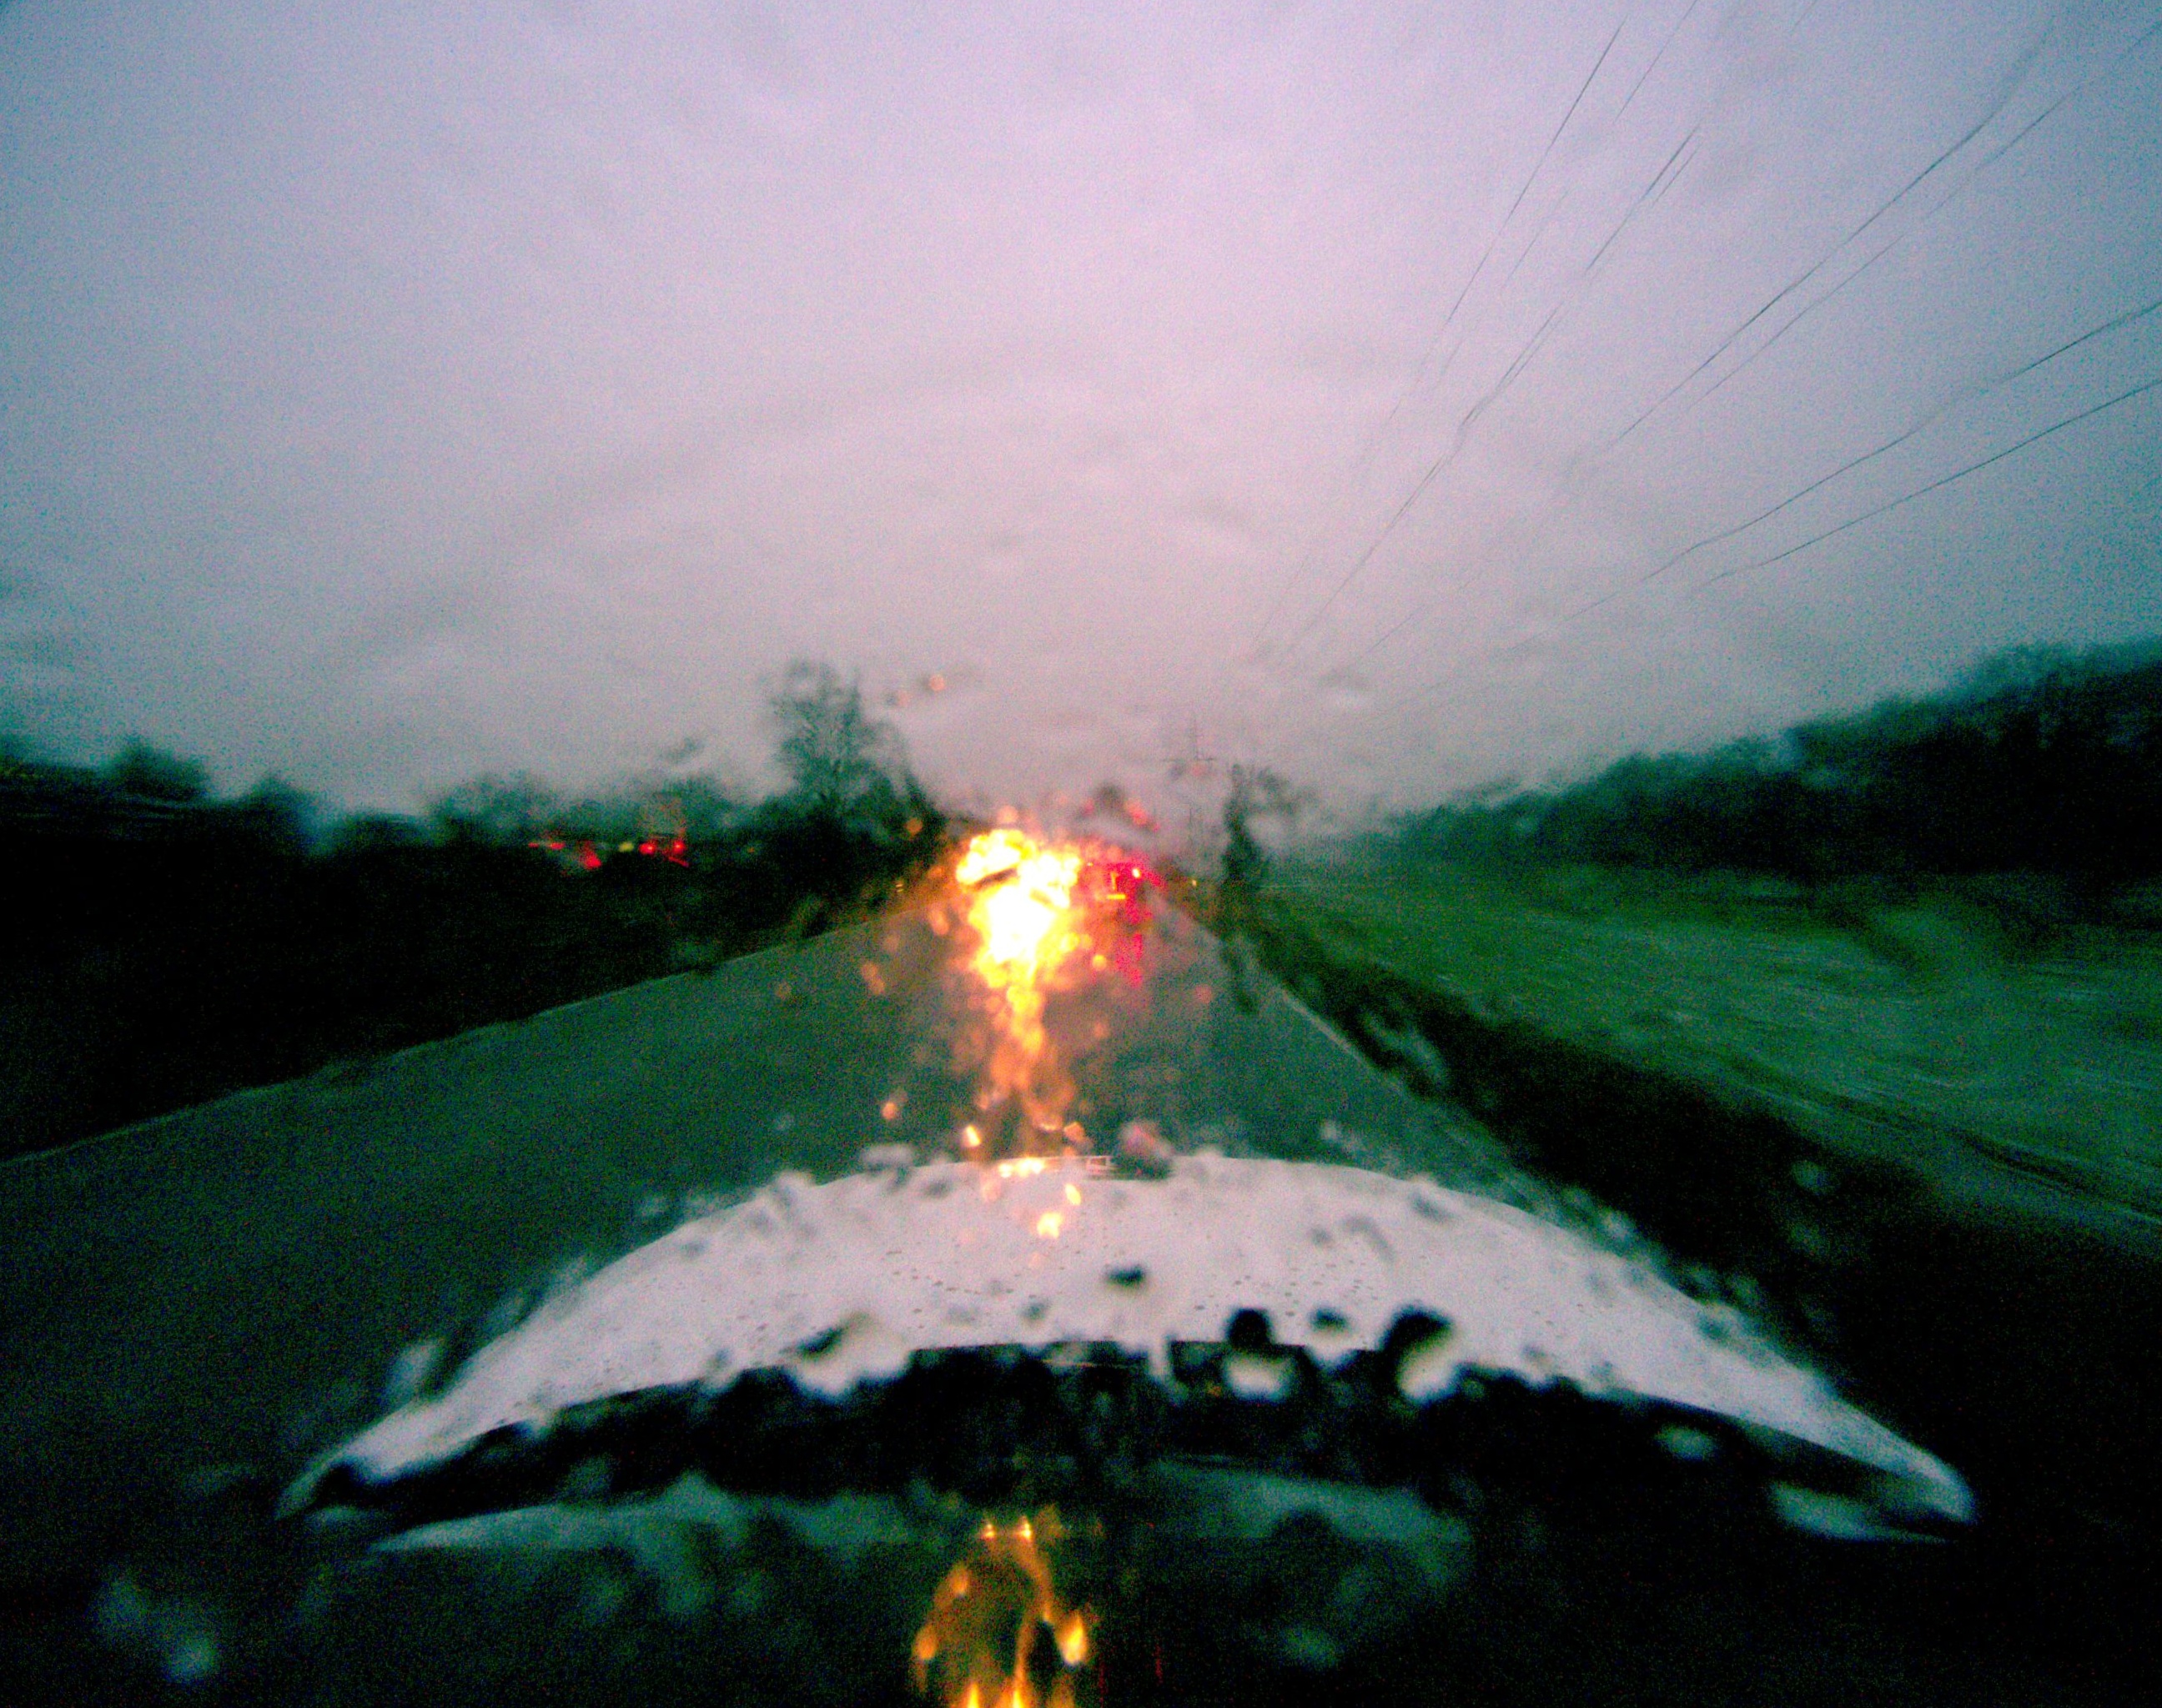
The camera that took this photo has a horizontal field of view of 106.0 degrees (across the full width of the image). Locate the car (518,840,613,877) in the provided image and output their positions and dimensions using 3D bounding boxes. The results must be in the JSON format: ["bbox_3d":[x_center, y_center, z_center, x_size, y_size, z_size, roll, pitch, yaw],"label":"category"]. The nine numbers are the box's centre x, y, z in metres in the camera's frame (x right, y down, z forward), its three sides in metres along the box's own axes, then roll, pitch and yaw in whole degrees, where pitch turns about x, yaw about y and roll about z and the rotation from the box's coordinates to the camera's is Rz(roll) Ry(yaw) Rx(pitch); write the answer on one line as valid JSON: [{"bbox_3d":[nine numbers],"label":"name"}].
[{"bbox_3d":[-29.499,0.273,46.847,1.985,2.014,5.108,0,-1,3],"label":"car"}]

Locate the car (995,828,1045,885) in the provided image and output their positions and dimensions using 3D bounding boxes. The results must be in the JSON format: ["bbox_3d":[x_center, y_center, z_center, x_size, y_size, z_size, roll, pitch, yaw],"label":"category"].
[{"bbox_3d":[-3.058,0.127,41.892,1.946,2.674,6.272,-1,0,1],"label":"car"}]

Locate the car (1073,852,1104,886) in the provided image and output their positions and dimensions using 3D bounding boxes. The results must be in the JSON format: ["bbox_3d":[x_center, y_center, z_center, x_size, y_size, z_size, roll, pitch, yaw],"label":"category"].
[{"bbox_3d":[0.485,0.906,50.596,1.846,2.014,4.000,0,-1,0],"label":"car"}]

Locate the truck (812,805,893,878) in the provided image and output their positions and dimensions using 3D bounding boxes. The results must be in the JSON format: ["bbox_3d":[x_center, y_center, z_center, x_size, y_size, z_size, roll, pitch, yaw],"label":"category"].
[{"bbox_3d":[-28.726,-1.169,106.020,7.549,7.713,39.980,0,0,-12],"label":"truck"}]

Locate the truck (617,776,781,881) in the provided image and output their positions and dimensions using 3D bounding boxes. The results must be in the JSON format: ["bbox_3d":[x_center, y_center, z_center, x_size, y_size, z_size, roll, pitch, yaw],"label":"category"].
[{"bbox_3d":[-25.850,-1.462,56.768,3.750,6.288,15.740,0,-1,1],"label":"truck"}]

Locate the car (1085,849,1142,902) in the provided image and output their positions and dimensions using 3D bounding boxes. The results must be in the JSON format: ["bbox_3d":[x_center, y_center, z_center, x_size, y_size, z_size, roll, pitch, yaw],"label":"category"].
[{"bbox_3d":[0.874,0.580,23.157,1.495,1.398,3.199,0,-1,0],"label":"car"}]
